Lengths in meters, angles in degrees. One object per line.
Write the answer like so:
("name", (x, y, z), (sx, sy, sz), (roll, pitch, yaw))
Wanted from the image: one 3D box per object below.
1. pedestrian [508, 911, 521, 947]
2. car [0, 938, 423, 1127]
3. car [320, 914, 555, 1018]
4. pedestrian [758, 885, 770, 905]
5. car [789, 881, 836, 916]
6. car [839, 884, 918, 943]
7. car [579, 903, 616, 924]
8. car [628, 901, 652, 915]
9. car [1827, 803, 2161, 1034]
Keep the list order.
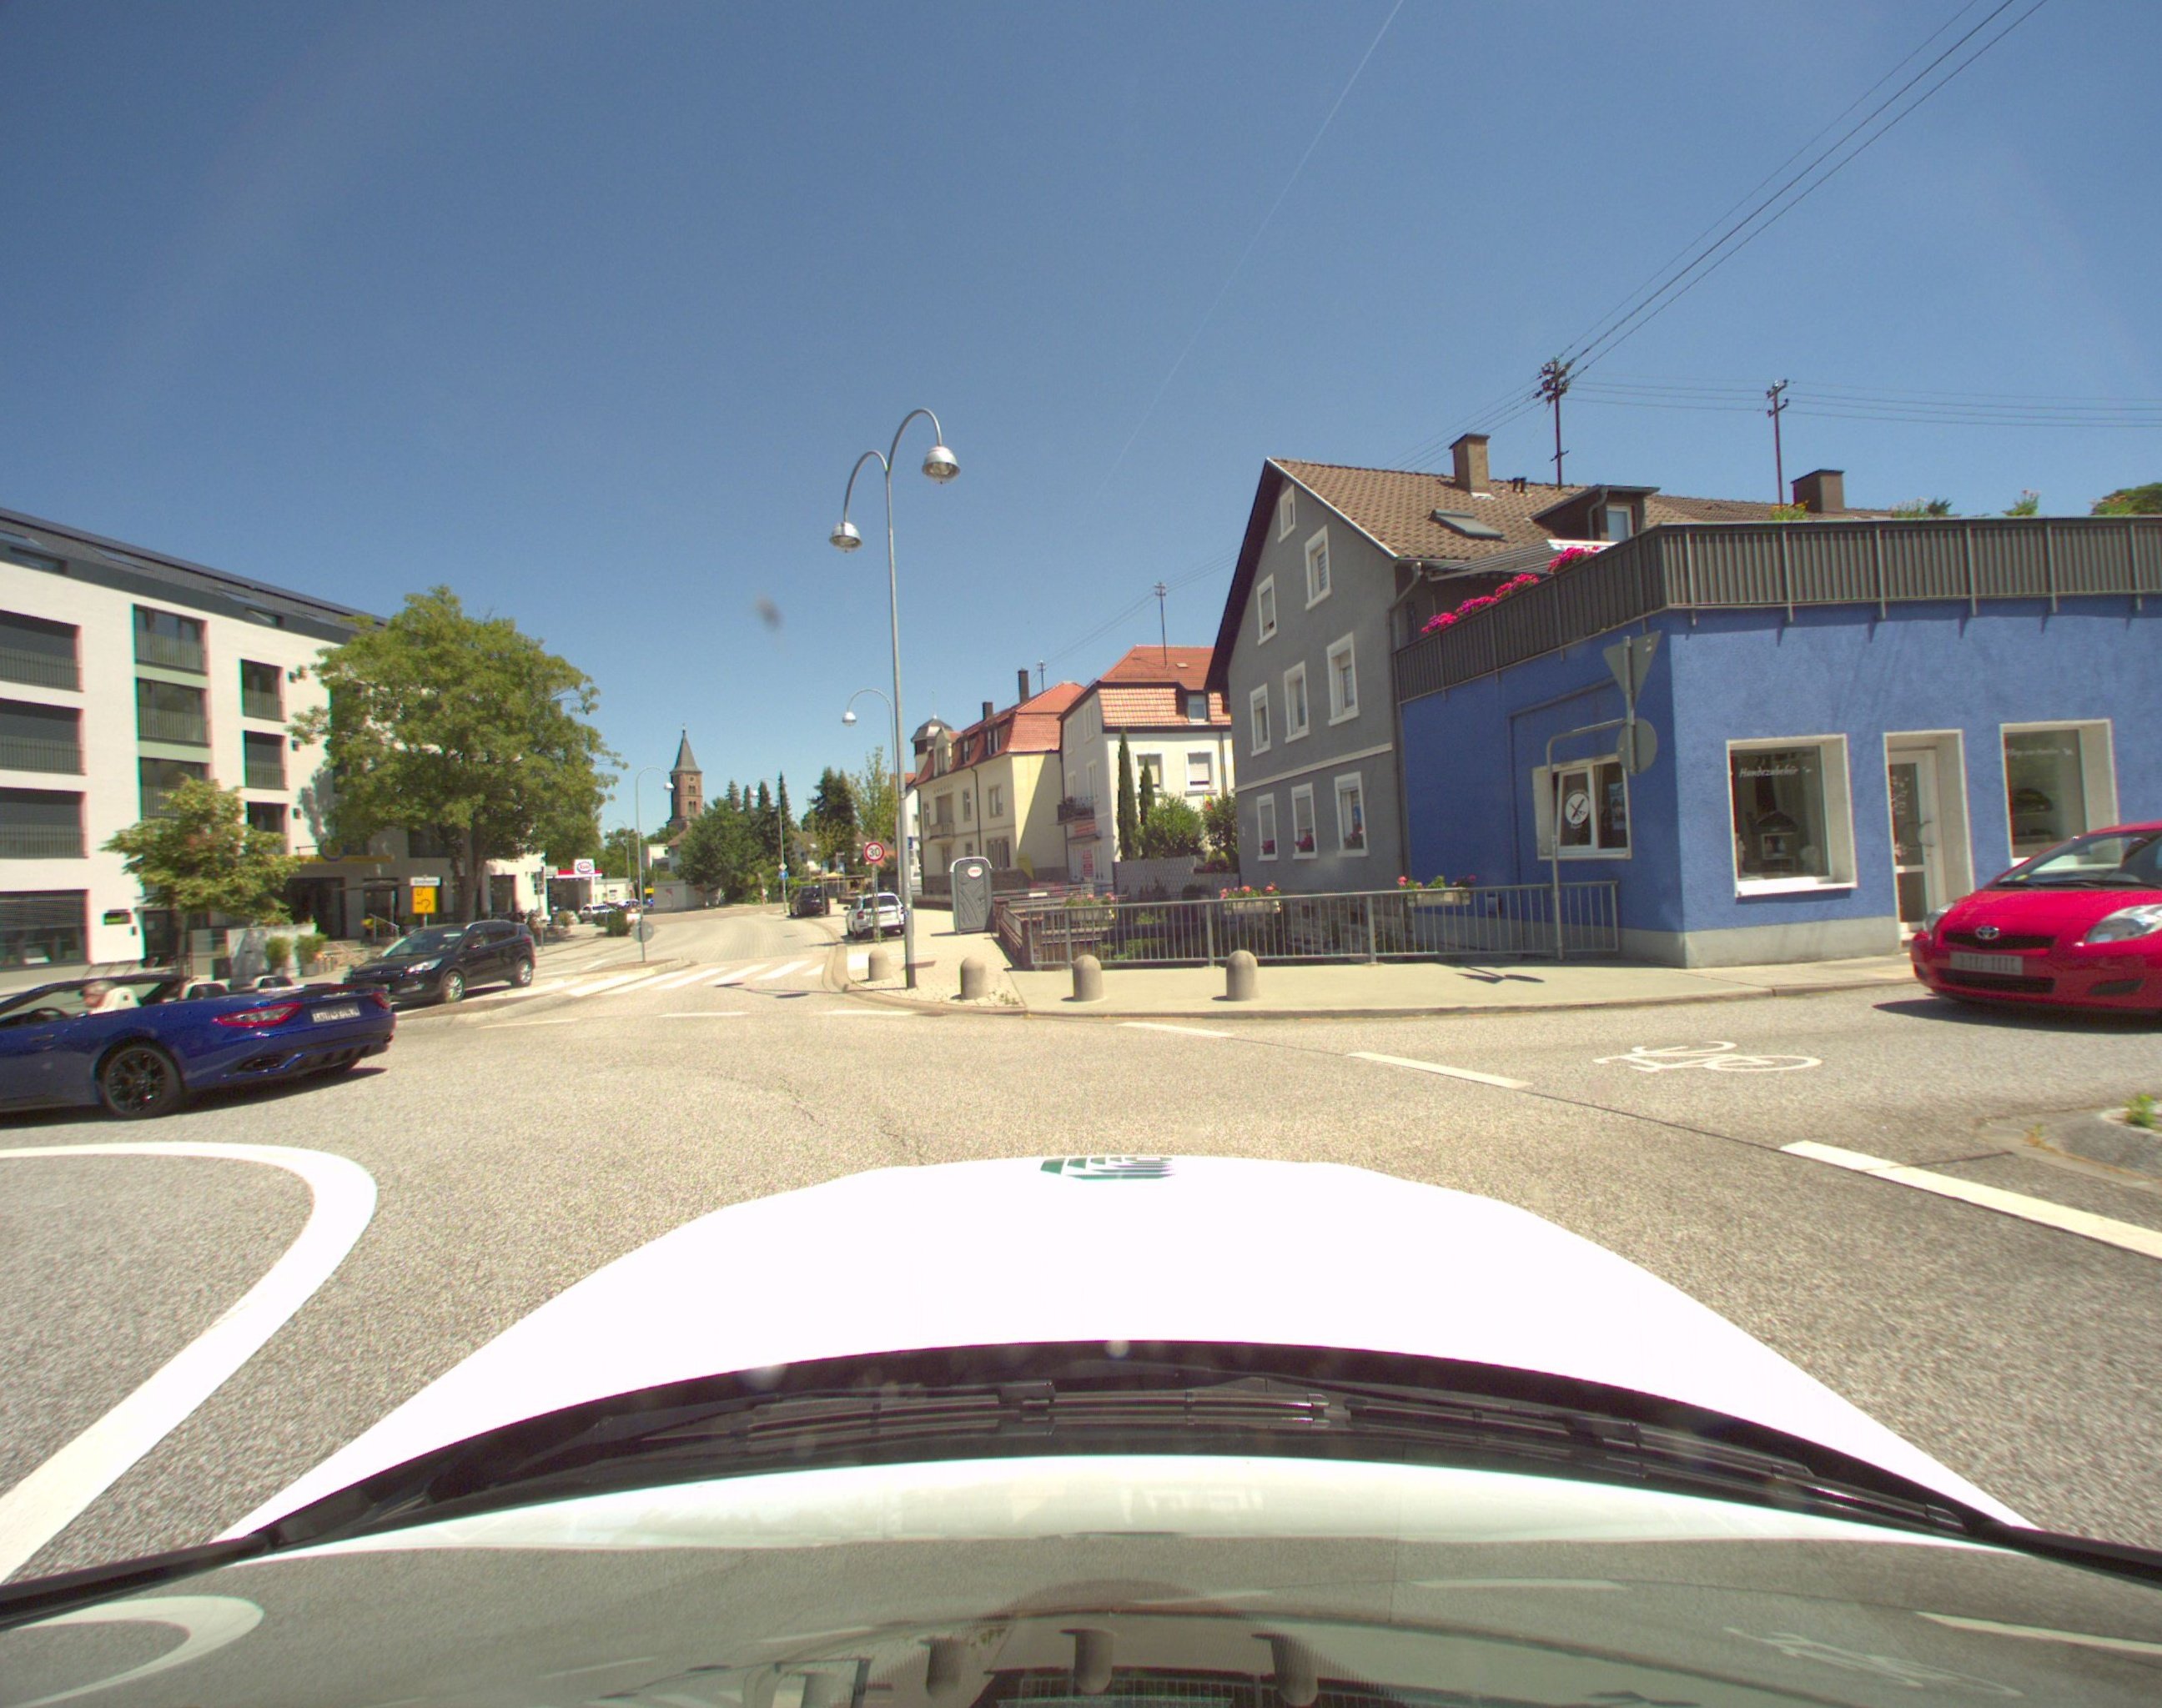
("pedestrian", (-26.554, 3.505, 38.170), (0.407, 1.628, 0.645), (-2, 0, -29))
("car", (-9.790, 1.816, 8.352), (4.589, 1.398, 1.985), (-6, -4, 5))
("car", (-14.319, 2.402, 18.559), (1.991, 1.688, 4.516), (-5, -1, -6))
("pedestrian", (-28.576, 3.684, 73.389), (0.542, 1.814, 0.851), (-2, 0, 32))
("car", (-16.331, 2.651, 49.454), (2.005, 1.865, 4.248), (-2, 0, -28))
("car", (-7.092, 1.995, 28.258), (2.002, 1.584, 4.256), (-8, 0, -21))
("car", (-41.374, 5.074, 69.649), (1.848, 1.574, 3.951), (-4, 0, -43))
("car", (-45.550, 5.580, 84.038), (1.553, 1.378, 3.954), (-3, -1, -38))
("car", (8.860, 0.391, 6.565), (3.977, 1.533, 1.832), (-4, -4, -3))
